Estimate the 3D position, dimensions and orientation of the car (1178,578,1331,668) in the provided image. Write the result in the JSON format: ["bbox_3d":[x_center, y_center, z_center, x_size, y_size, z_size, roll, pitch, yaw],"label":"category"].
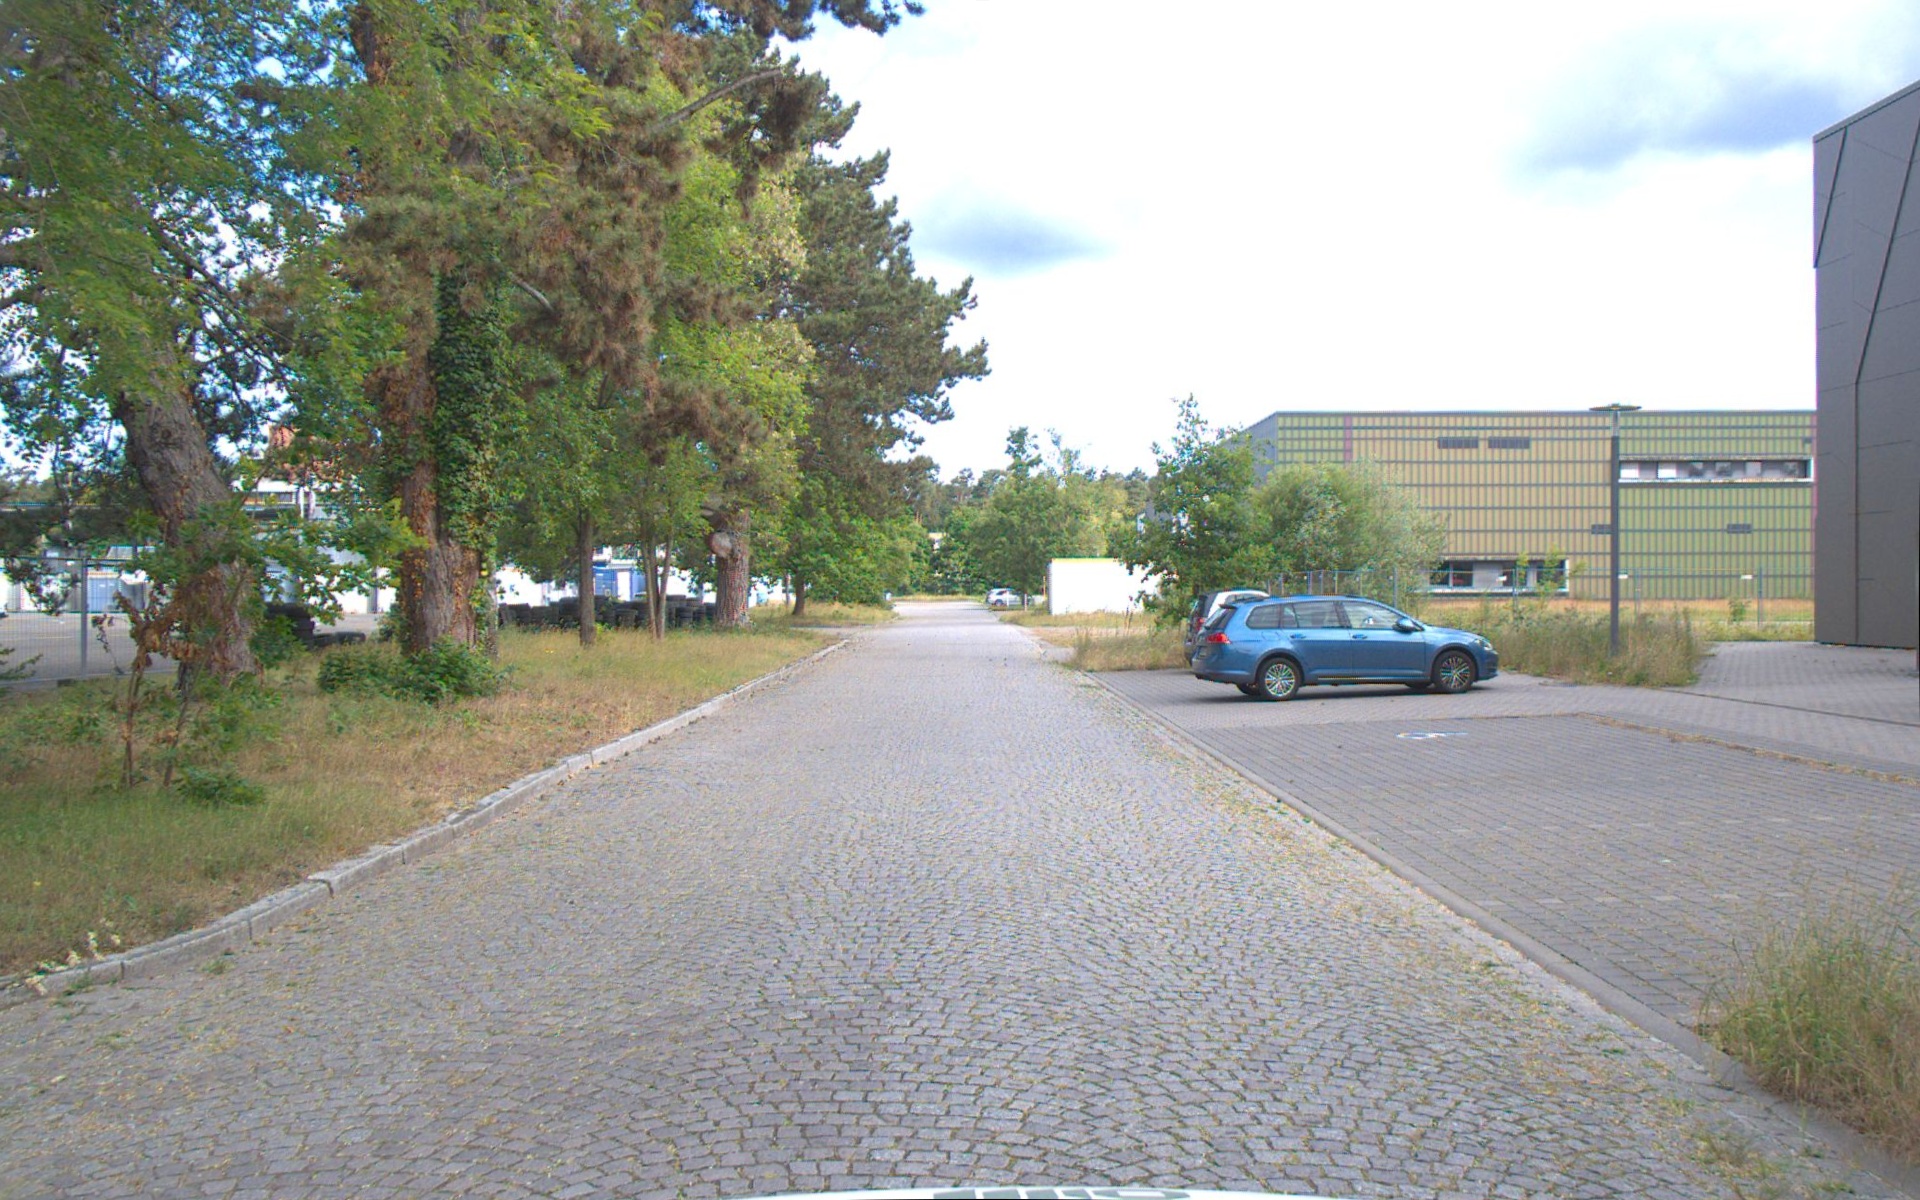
[{"bbox_3d":[5.680,0.426,32.127,2.654,1.583,1.654,-2,0,0],"label":"car"}]

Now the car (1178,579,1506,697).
[{"bbox_3d":[5.617,0.534,24.663,4.401,1.501,1.829,-3,0,-3],"label":"car"}]

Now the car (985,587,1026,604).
[{"bbox_3d":[3.901,-0.381,141.790,3.450,1.386,1.622,-2,0,0],"label":"car"}]

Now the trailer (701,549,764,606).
[{"bbox_3d":[-15.222,-1.452,111.378,2.571,3.661,10.180,0,0,2],"label":"trailer"}]
